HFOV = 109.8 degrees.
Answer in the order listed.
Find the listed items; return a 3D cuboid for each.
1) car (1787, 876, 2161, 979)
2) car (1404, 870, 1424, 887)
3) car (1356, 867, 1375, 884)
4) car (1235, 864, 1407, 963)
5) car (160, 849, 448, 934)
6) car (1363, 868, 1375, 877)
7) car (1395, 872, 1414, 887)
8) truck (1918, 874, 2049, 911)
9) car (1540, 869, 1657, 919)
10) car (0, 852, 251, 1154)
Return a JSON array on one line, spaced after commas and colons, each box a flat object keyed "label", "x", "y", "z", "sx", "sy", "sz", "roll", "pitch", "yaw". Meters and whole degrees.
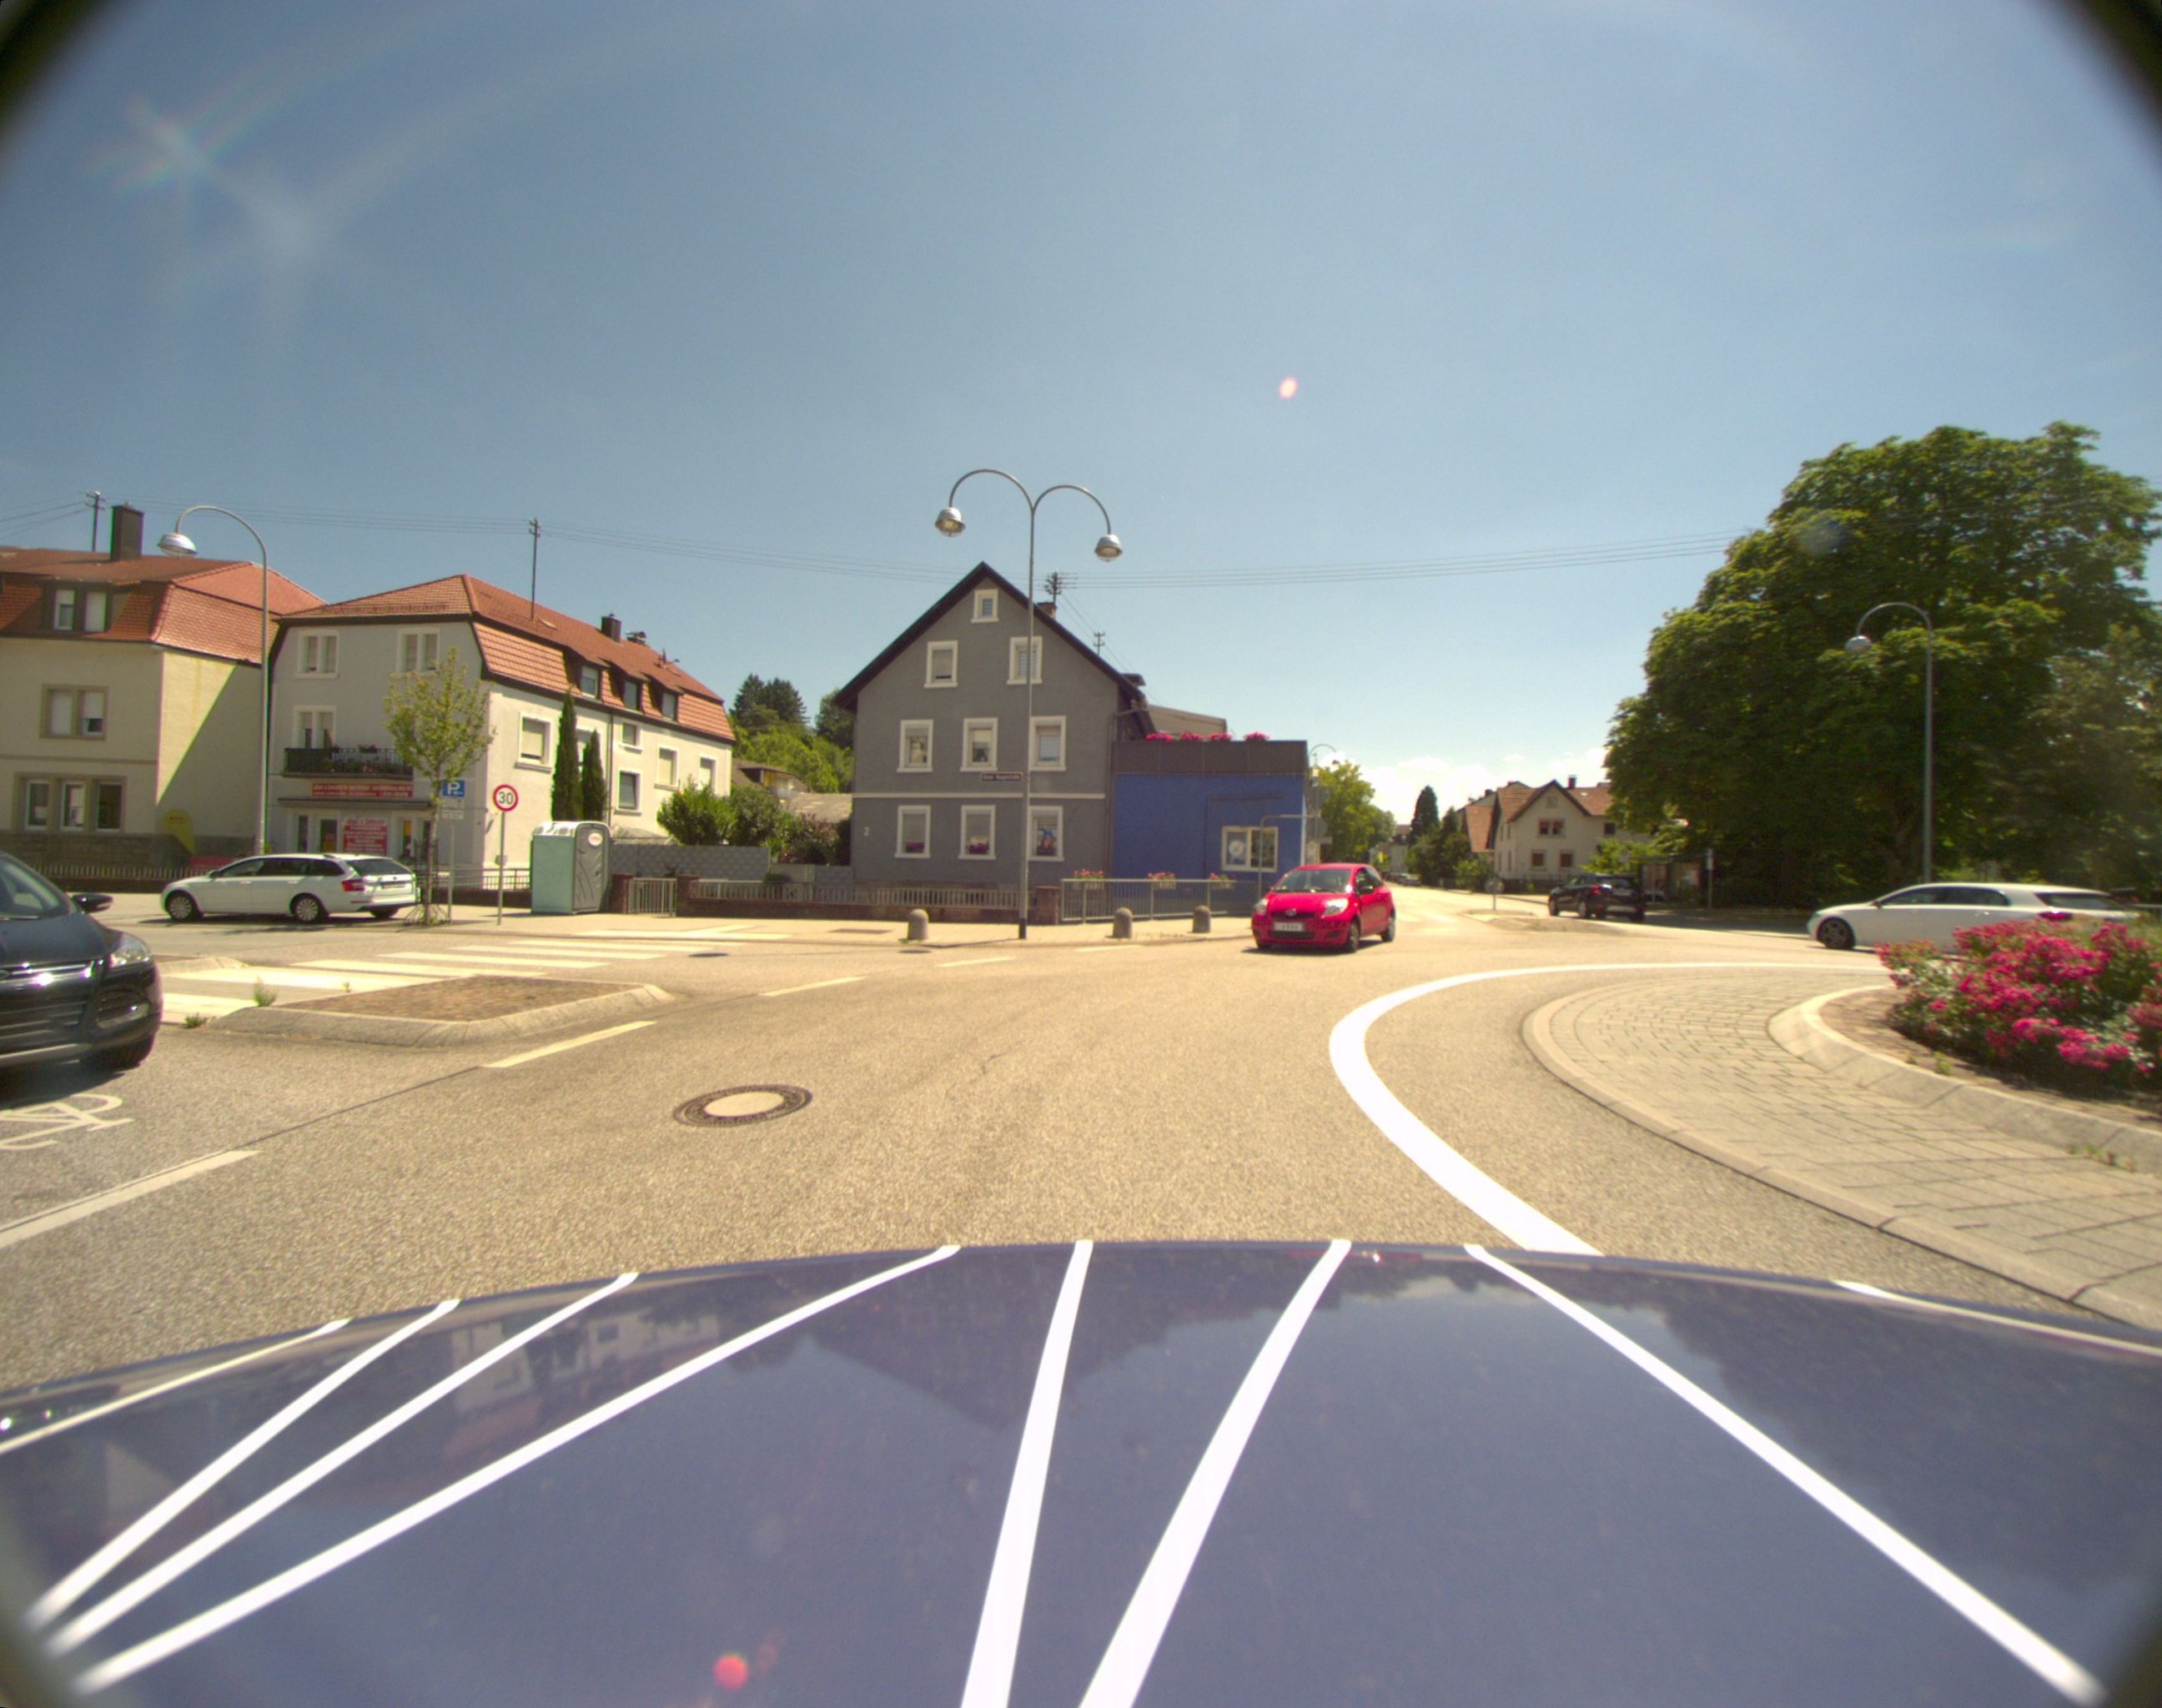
[{"label": "car", "x": 15.826, "y": 1.198, "z": 13.799, "sx": 1.931, "sy": 1.374, "sz": 4.287, "roll": 2, "pitch": 0, "yaw": -1}, {"label": "car", "x": 44.201, "y": 3.283, "z": 100.838, "sx": 1.995, "sy": 2.001, "sz": 4.008, "roll": 3, "pitch": -2, "yaw": 18}, {"label": "car", "x": 36.925, "y": 2.874, "z": 98.768, "sx": 1.995, "sy": 2.001, "sz": 4.008, "roll": 3, "pitch": -2, "yaw": 18}, {"label": "car", "x": 4.500, "y": 0.959, "z": 13.858, "sx": 1.830, "sy": 1.523, "sz": 4.009, "roll": -2, "pitch": -2, "yaw": 35}, {"label": "car", "x": -16.794, "y": 0.754, "z": 16.604, "sx": 4.282, "sy": 1.576, "sz": 1.999, "roll": 1, "pitch": 4, "yaw": 3}, {"label": "car", "x": 55.540, "y": 3.630, "z": 146.735, "sx": 1.736, "sy": 1.695, "sz": 4.007, "roll": 0, "pitch": -3, "yaw": 15}, {"label": "car", "x": 47.381, "y": 3.745, "z": 111.352, "sx": 1.996, "sy": 2.001, "sz": 4.007, "roll": 3, "pitch": -2, "yaw": 15}, {"label": "truck", "x": 67.457, "y": 2.865, "z": 56.967, "sx": 2.270, "sy": 2.428, "sz": 6.200, "roll": 5, "pitch": -3, "yaw": -40}, {"label": "car", "x": 17.814, "y": 1.338, "z": 26.414, "sx": 1.996, "sy": 1.552, "sz": 4.172, "roll": 1, "pitch": -2, "yaw": 14}, {"label": "car", "x": -8.255, "y": 0.835, "z": 5.026, "sx": 4.517, "sy": 1.678, "sz": 2.003, "roll": 1, "pitch": 0, "yaw": 17}]
